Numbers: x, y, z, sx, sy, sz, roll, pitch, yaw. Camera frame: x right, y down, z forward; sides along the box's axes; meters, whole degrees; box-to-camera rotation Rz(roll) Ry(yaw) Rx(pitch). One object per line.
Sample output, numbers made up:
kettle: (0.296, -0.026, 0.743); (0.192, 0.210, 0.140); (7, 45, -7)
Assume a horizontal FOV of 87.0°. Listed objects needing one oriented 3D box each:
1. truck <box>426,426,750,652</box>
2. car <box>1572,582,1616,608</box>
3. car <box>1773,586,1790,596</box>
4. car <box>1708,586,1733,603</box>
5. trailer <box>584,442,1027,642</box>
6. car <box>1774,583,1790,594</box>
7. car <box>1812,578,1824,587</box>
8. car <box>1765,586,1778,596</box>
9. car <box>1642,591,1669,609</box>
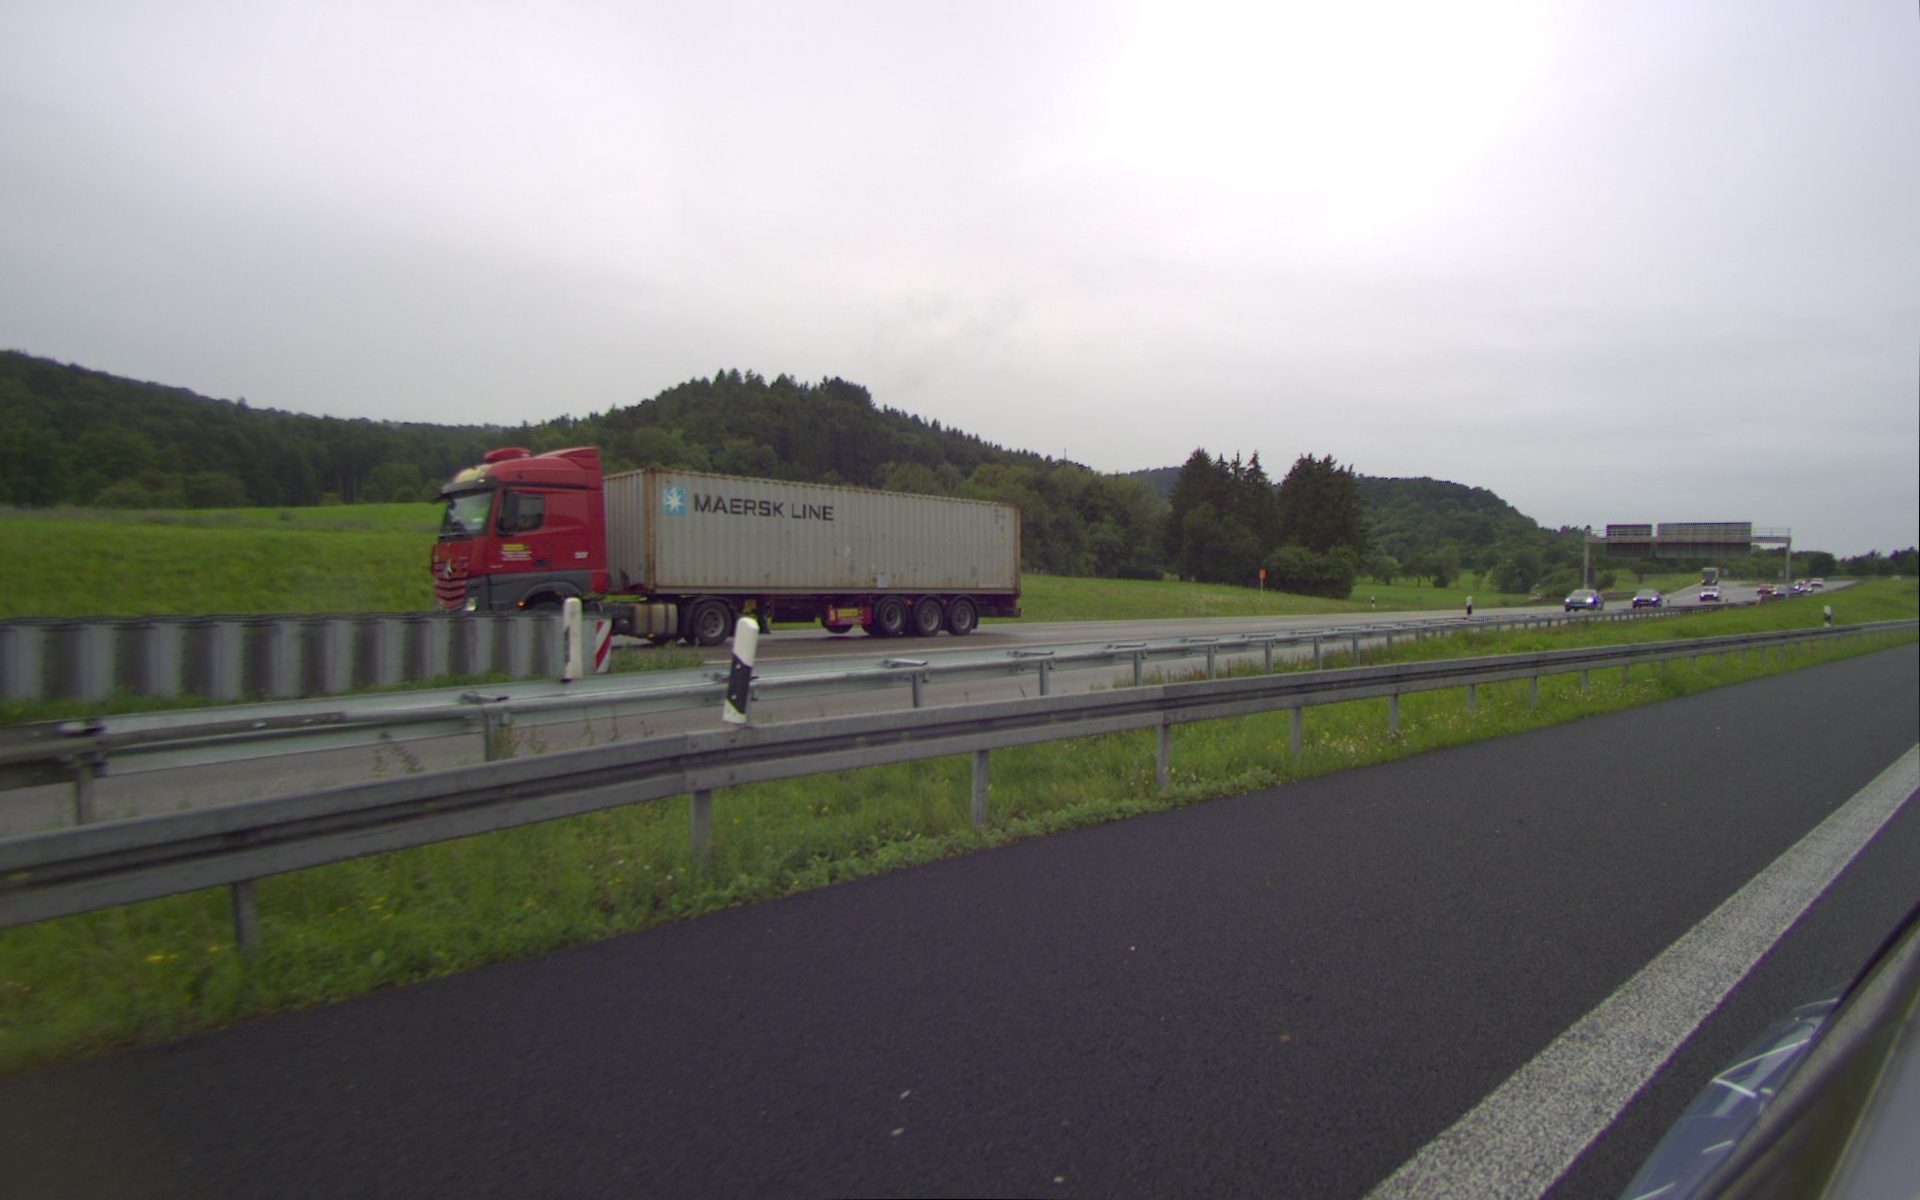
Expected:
truck: (-7.547, -1.116, 21.051); (2.508, 4.037, 5.834); (-1, 0, 44)
car: (45.538, -0.362, 72.649); (1.993, 1.742, 4.253); (2, 1, 42)
car: (127.976, -1.416, 157.574); (3.933, 1.571, 1.581); (-1, 0, -44)
car: (95.750, -0.709, 127.406); (1.994, 2.039, 3.936); (2, 1, 44)
trailer: (-3.157, -1.219, 25.776); (2.490, 4.034, 12.210); (-1, 0, 43)
car: (149.485, -2.040, 184.035); (3.931, 2.039, 1.732); (0, 0, -42)
car: (161.012, -3.254, 189.959); (1.577, 1.571, 3.943); (-1, 0, 39)
car: (136.173, -1.521, 169.790); (1.577, 1.571, 3.943); (-1, 0, 39)
car: (61.727, -0.013, 89.805); (1.743, 1.527, 3.945); (-1, 0, 38)
